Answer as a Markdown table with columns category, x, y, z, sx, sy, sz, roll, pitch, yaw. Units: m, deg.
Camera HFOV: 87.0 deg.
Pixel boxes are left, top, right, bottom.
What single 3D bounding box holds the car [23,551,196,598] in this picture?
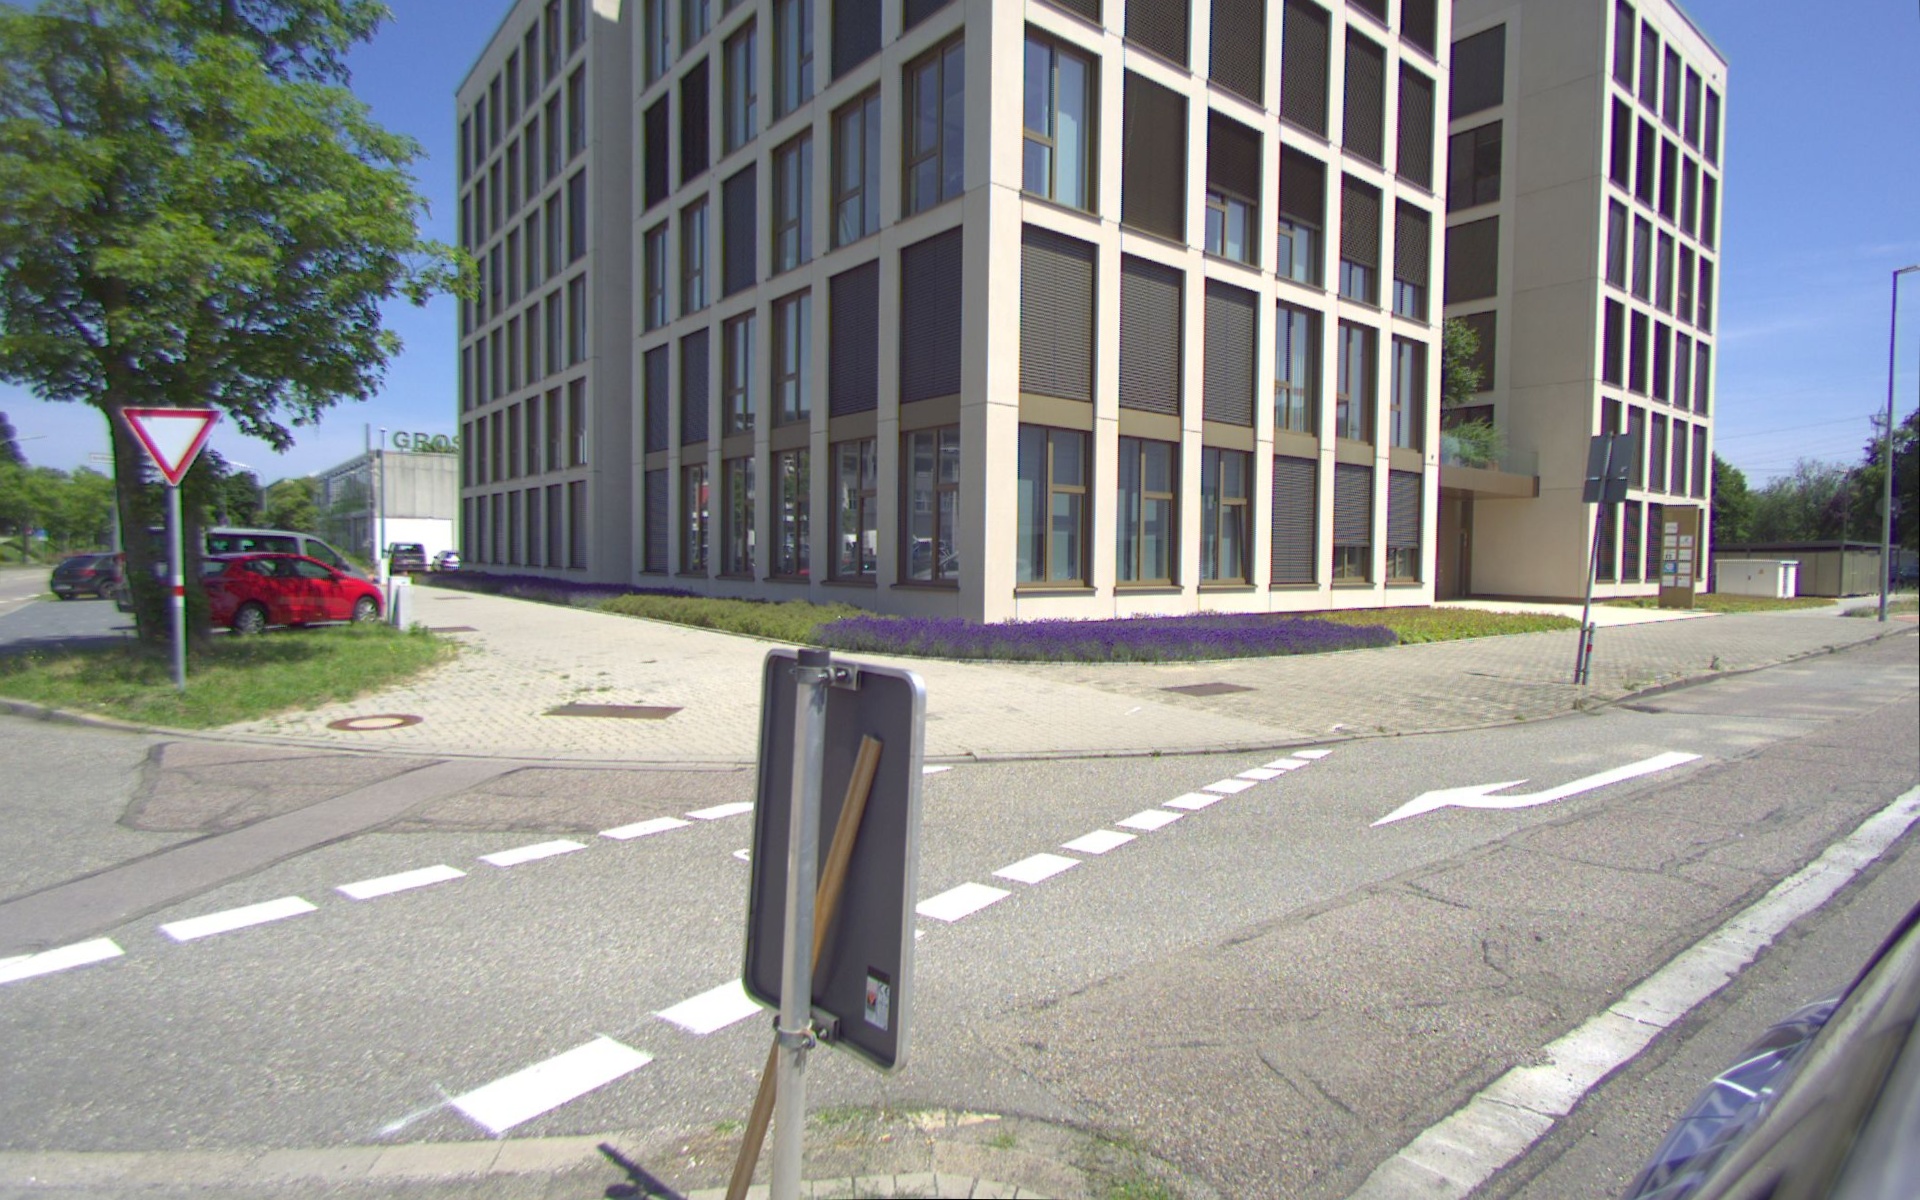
| category | x | y | z | sx | sy | sz | roll | pitch | yaw |
| --- | --- | --- | --- | --- | --- | --- | --- | --- | --- |
| car | -26.626 | -0.843 | 31.864 | 1.886 | 1.349 | 3.995 | 1 | 2 | 6 |

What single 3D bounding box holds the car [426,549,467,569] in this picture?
| category | x | y | z | sx | sy | sz | roll | pitch | yaw |
| --- | --- | --- | --- | --- | --- | --- | --- | --- | --- |
| car | -32.090 | -2.553 | 63.187 | 1.664 | 1.170 | 3.998 | -1 | 1 | -37 |

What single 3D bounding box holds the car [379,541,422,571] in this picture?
| category | x | y | z | sx | sy | sz | roll | pitch | yaw |
| --- | --- | --- | --- | --- | --- | --- | --- | --- | --- |
| car | -34.046 | -2.648 | 61.555 | 1.763 | 1.749 | 3.998 | -1 | 1 | -36 |

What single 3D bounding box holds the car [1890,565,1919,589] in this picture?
| category | x | y | z | sx | sy | sz | roll | pitch | yaw |
| --- | --- | --- | --- | --- | --- | --- | --- | --- | --- |
| car | 59.440 | -1.390 | 61.711 | 3.812 | 1.411 | 1.715 | 3 | 3 | 37 |

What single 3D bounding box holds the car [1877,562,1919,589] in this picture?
| category | x | y | z | sx | sy | sz | roll | pitch | yaw |
| --- | --- | --- | --- | --- | --- | --- | --- | --- | --- |
| car | 57.681 | -1.433 | 60.647 | 3.812 | 1.571 | 1.715 | 3 | 3 | 37 |

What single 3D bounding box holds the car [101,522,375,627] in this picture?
| category | x | y | z | sx | sy | sz | roll | pitch | yaw |
| --- | --- | --- | --- | --- | --- | --- | --- | --- | --- |
| car | -14.762 | -0.546 | 21.146 | 1.886 | 1.909 | 4.926 | 1 | 2 | 6 |

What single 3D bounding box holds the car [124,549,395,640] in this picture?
| category | x | y | z | sx | sy | sz | roll | pitch | yaw |
| --- | --- | --- | --- | --- | --- | --- | --- | --- | --- |
| car | -12.415 | -0.193 | 18.284 | 1.673 | 1.449 | 3.989 | 0 | 3 | 11 |

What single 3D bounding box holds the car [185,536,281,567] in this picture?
| category | x | y | z | sx | sy | sz | roll | pitch | yaw |
| --- | --- | --- | --- | --- | --- | --- | --- | --- | --- |
| car | -62.073 | -4.106 | 86.477 | 6.571 | 2.552 | 2.218 | -1 | 1 | -37 |

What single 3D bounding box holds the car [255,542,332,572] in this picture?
| category | x | y | z | sx | sy | sz | roll | pitch | yaw |
| --- | --- | --- | --- | --- | --- | --- | --- | --- | --- |
| car | -48.210 | -3.080 | 73.196 | 4.494 | 2.039 | 1.998 | -1 | 1 | -39 |
